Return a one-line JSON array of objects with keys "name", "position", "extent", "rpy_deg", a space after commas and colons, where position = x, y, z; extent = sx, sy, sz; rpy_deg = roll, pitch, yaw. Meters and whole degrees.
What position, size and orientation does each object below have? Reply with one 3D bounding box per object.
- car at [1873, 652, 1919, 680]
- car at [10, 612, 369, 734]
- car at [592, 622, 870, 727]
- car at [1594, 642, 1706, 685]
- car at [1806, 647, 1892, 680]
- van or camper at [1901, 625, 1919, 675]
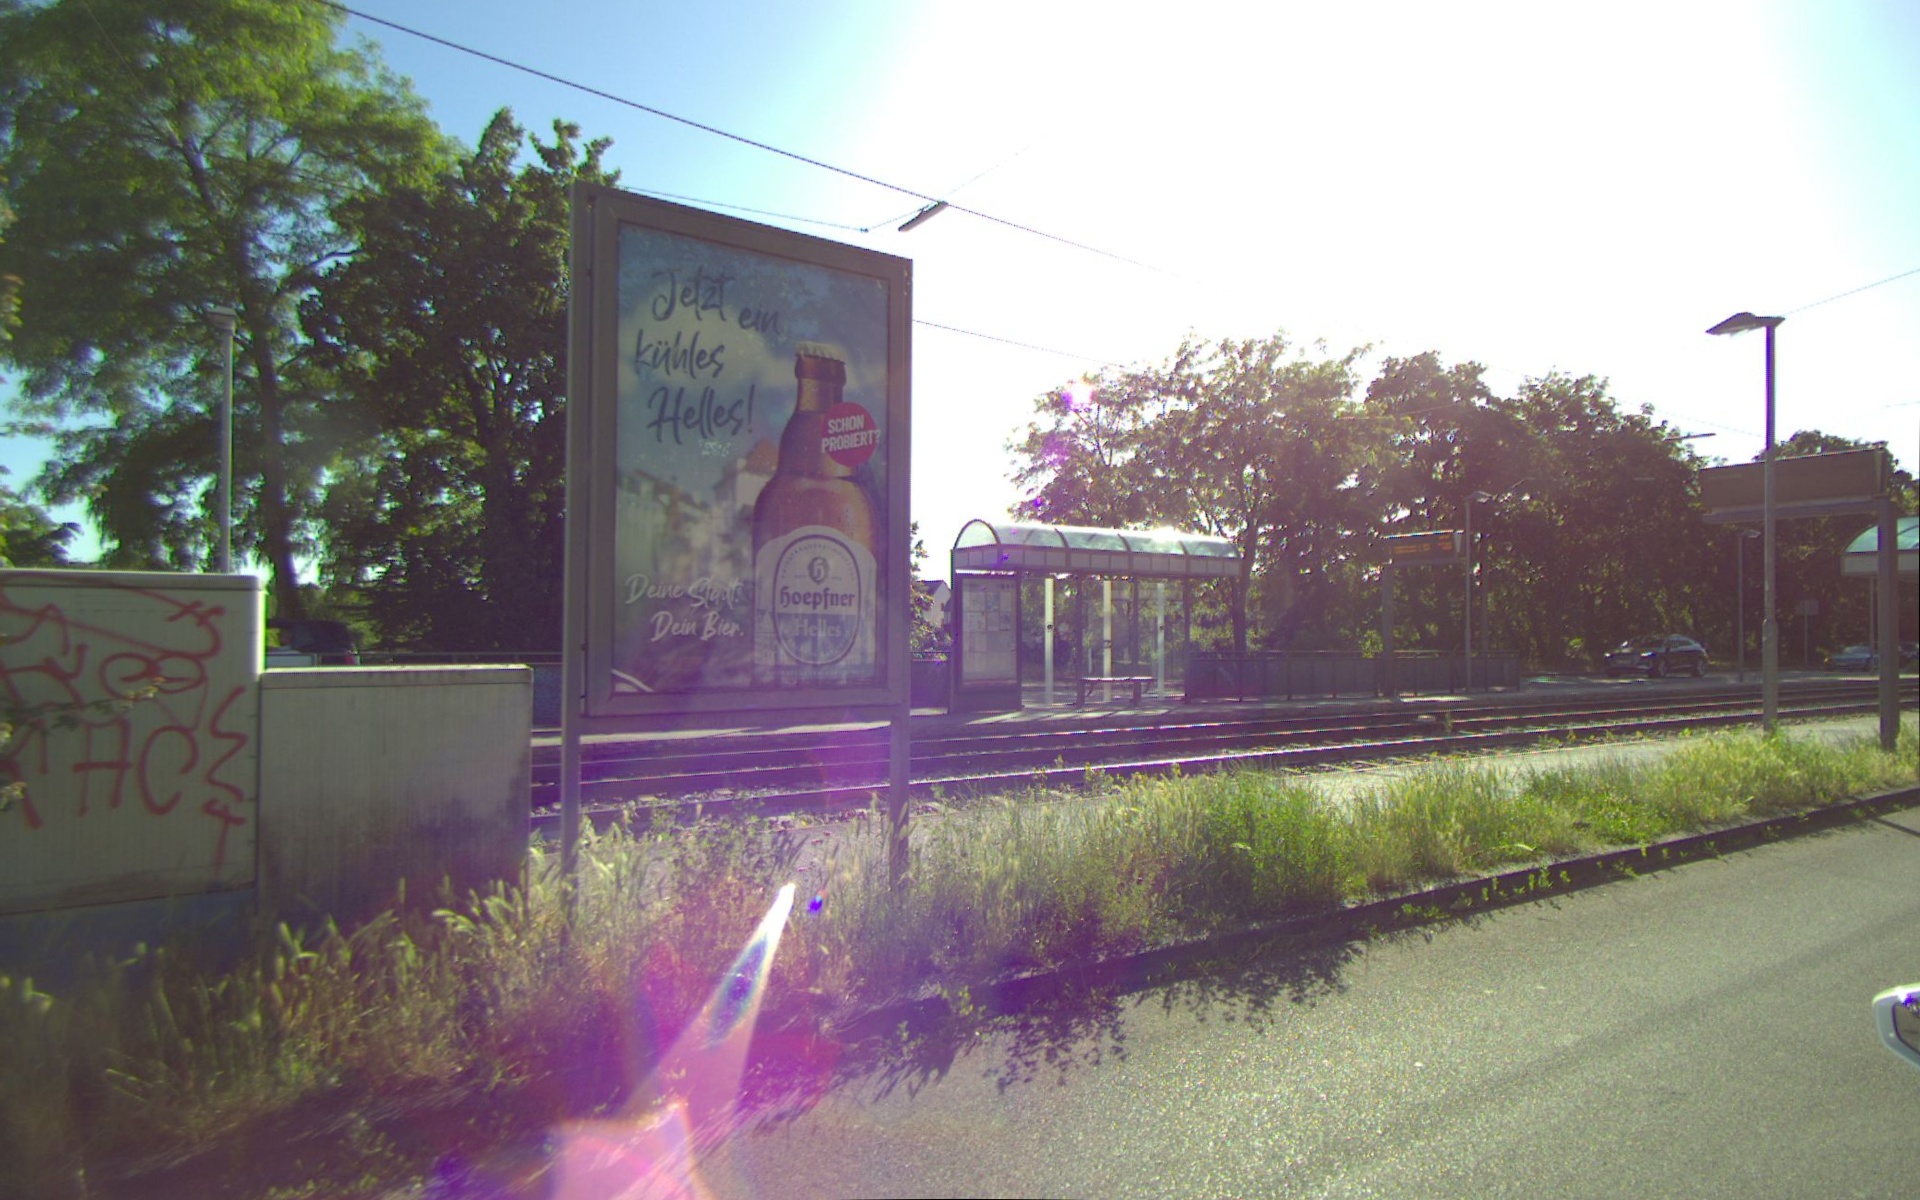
[{"name": "car", "position": [57.269, 3.958, 60.789], "extent": [3.953, 1.582, 1.912], "rpy_deg": [2, -2, -30]}, {"name": "car", "position": [-11.105, 1.034, 14.913], "extent": [3.953, 1.587, 1.912], "rpy_deg": [2, -2, -31]}, {"name": "car", "position": [-3.618, 1.137, 16.067], "extent": [3.957, 1.486, 1.795], "rpy_deg": [2, -2, -33]}, {"name": "car", "position": [25.772, 2.335, 37.502], "extent": [4.330, 1.489, 1.982], "rpy_deg": [2, -2, -33]}, {"name": "car", "position": [43.552, 3.094, 49.190], "extent": [4.327, 1.489, 1.983], "rpy_deg": [2, -2, -31]}, {"name": "van or camper", "position": [63.228, 3.210, 64.416], "extent": [6.714, 3.147, 2.576], "rpy_deg": [2, -2, -32]}]
